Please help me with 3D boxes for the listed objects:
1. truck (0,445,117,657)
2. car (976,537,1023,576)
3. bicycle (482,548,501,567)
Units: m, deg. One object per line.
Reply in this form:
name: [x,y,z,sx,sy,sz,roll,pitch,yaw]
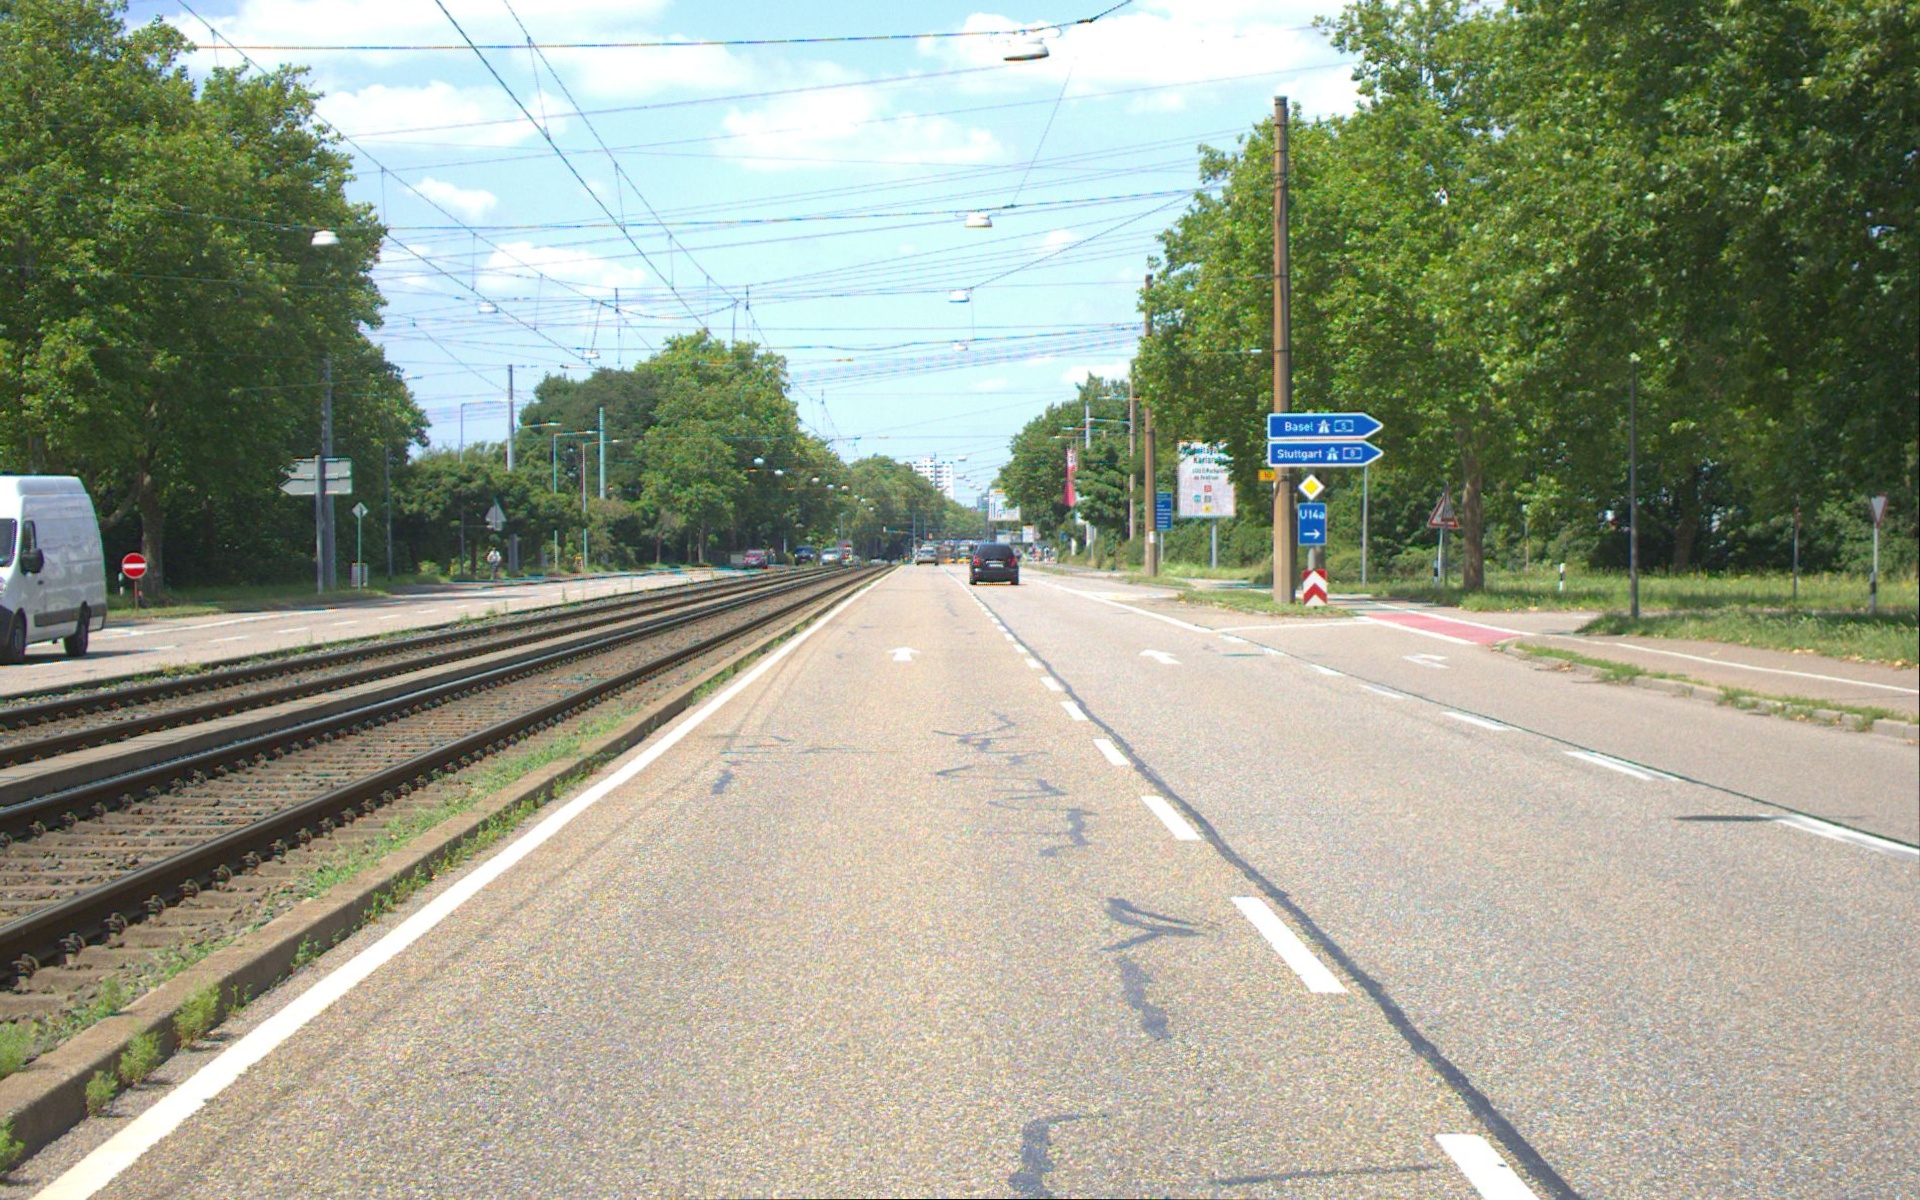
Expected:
truck: [-14.213,-0.711,50.499,2.054,2.929,6.320,-2,1,0]
car: [1.469,-1.623,127.384,1.586,1.338,3.273,-1,2,-2]
bicycle: [-21.677,-1.981,158.997,0.515,0.854,1.931,-1,1,2]
